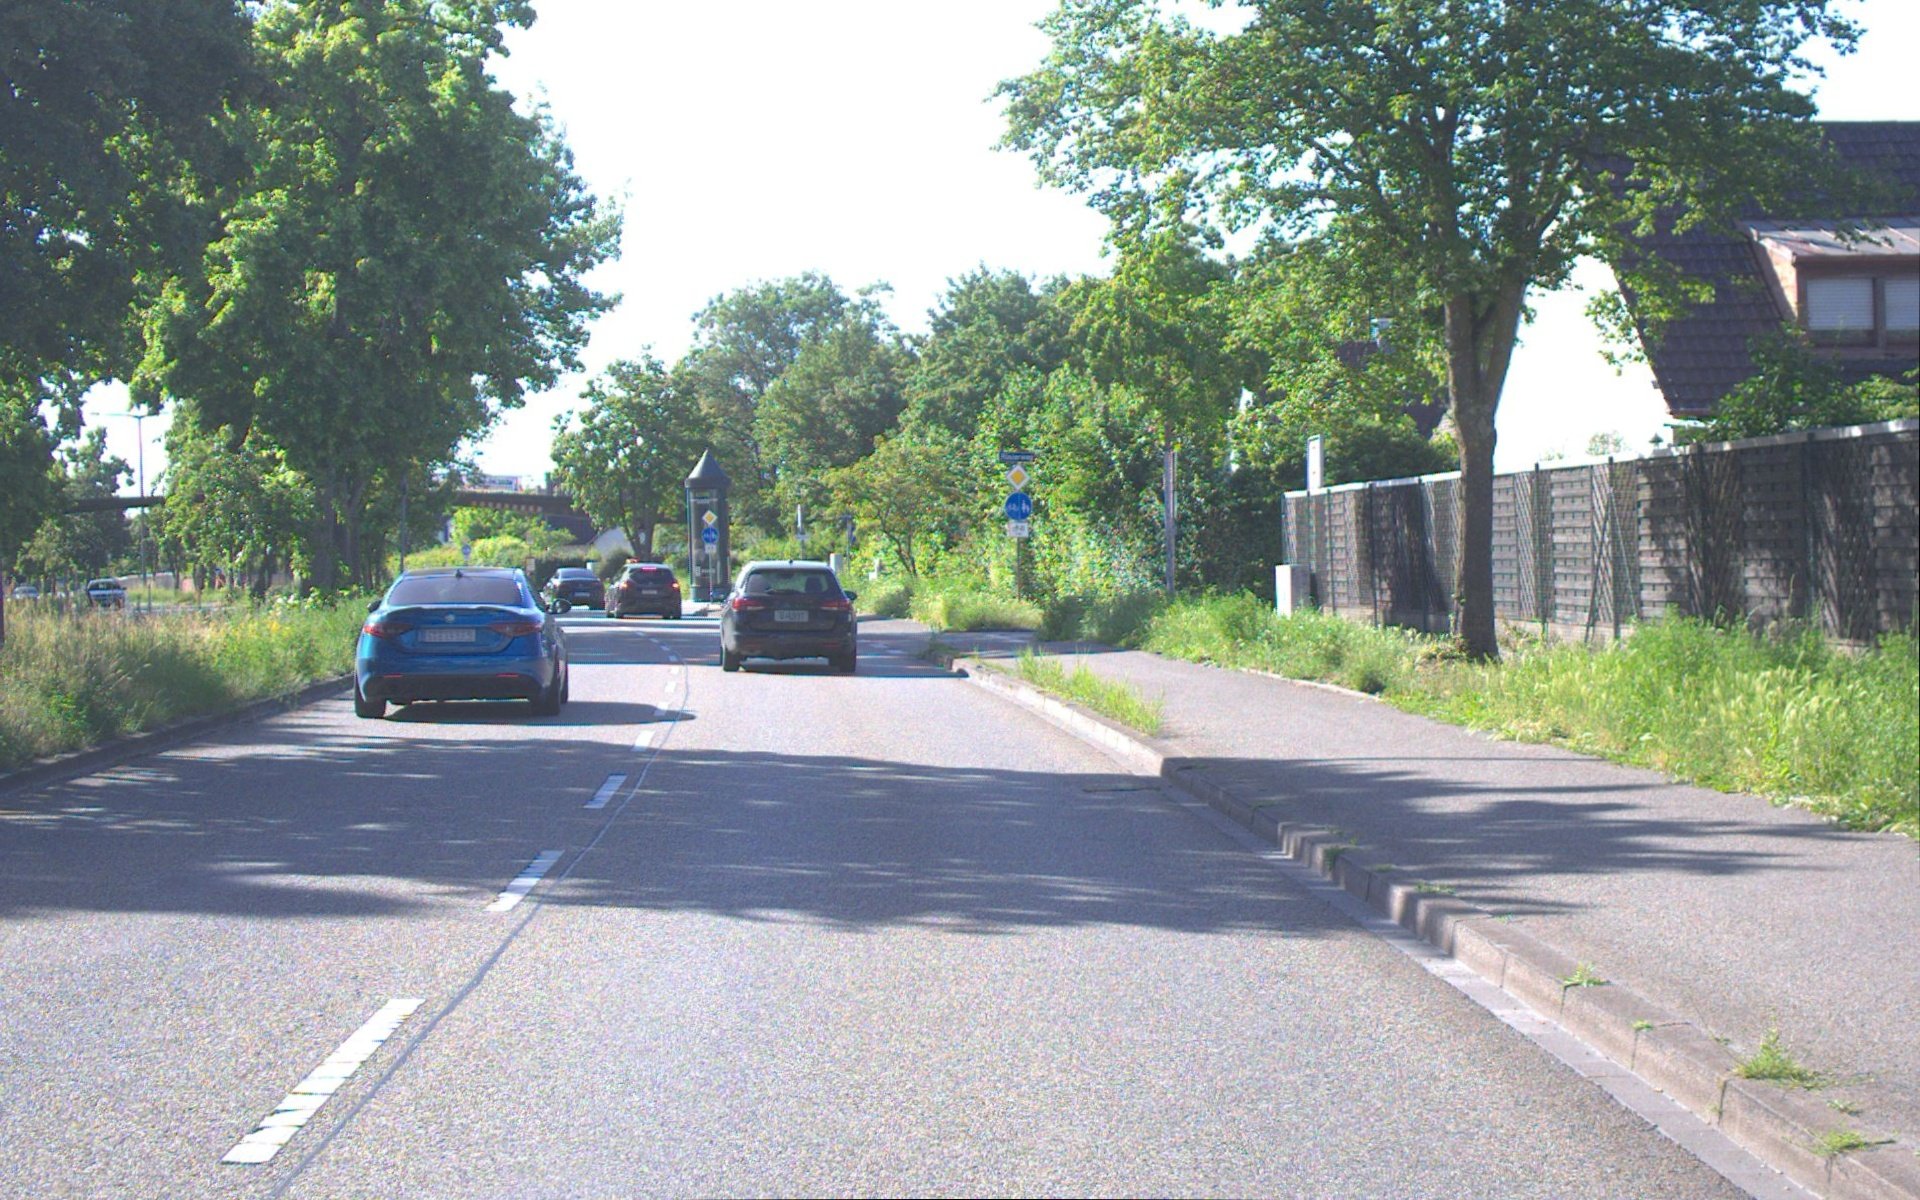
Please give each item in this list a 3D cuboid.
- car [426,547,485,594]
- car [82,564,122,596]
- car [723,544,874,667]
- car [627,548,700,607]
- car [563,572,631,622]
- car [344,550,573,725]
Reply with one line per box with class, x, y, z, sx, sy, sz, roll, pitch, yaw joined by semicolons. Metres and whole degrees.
car;-16.972;-1.012;115.675;1.915;1.507;4.069;-1;1;-8
car;-39.548;-0.938;158.539;1.669;1.462;3.783;-1;1;-12
car;-2.240;0.038;46.731;1.915;1.574;4.183;0;1;-4
car;-8.182;-0.631;94.595;1.915;1.574;4.183;0;1;-6
car;-12.519;-0.129;118.419;1.915;1.672;4.014;0;1;-12
car;-4.783;0.308;33.282;1.838;1.469;4.185;-1;2;-4
